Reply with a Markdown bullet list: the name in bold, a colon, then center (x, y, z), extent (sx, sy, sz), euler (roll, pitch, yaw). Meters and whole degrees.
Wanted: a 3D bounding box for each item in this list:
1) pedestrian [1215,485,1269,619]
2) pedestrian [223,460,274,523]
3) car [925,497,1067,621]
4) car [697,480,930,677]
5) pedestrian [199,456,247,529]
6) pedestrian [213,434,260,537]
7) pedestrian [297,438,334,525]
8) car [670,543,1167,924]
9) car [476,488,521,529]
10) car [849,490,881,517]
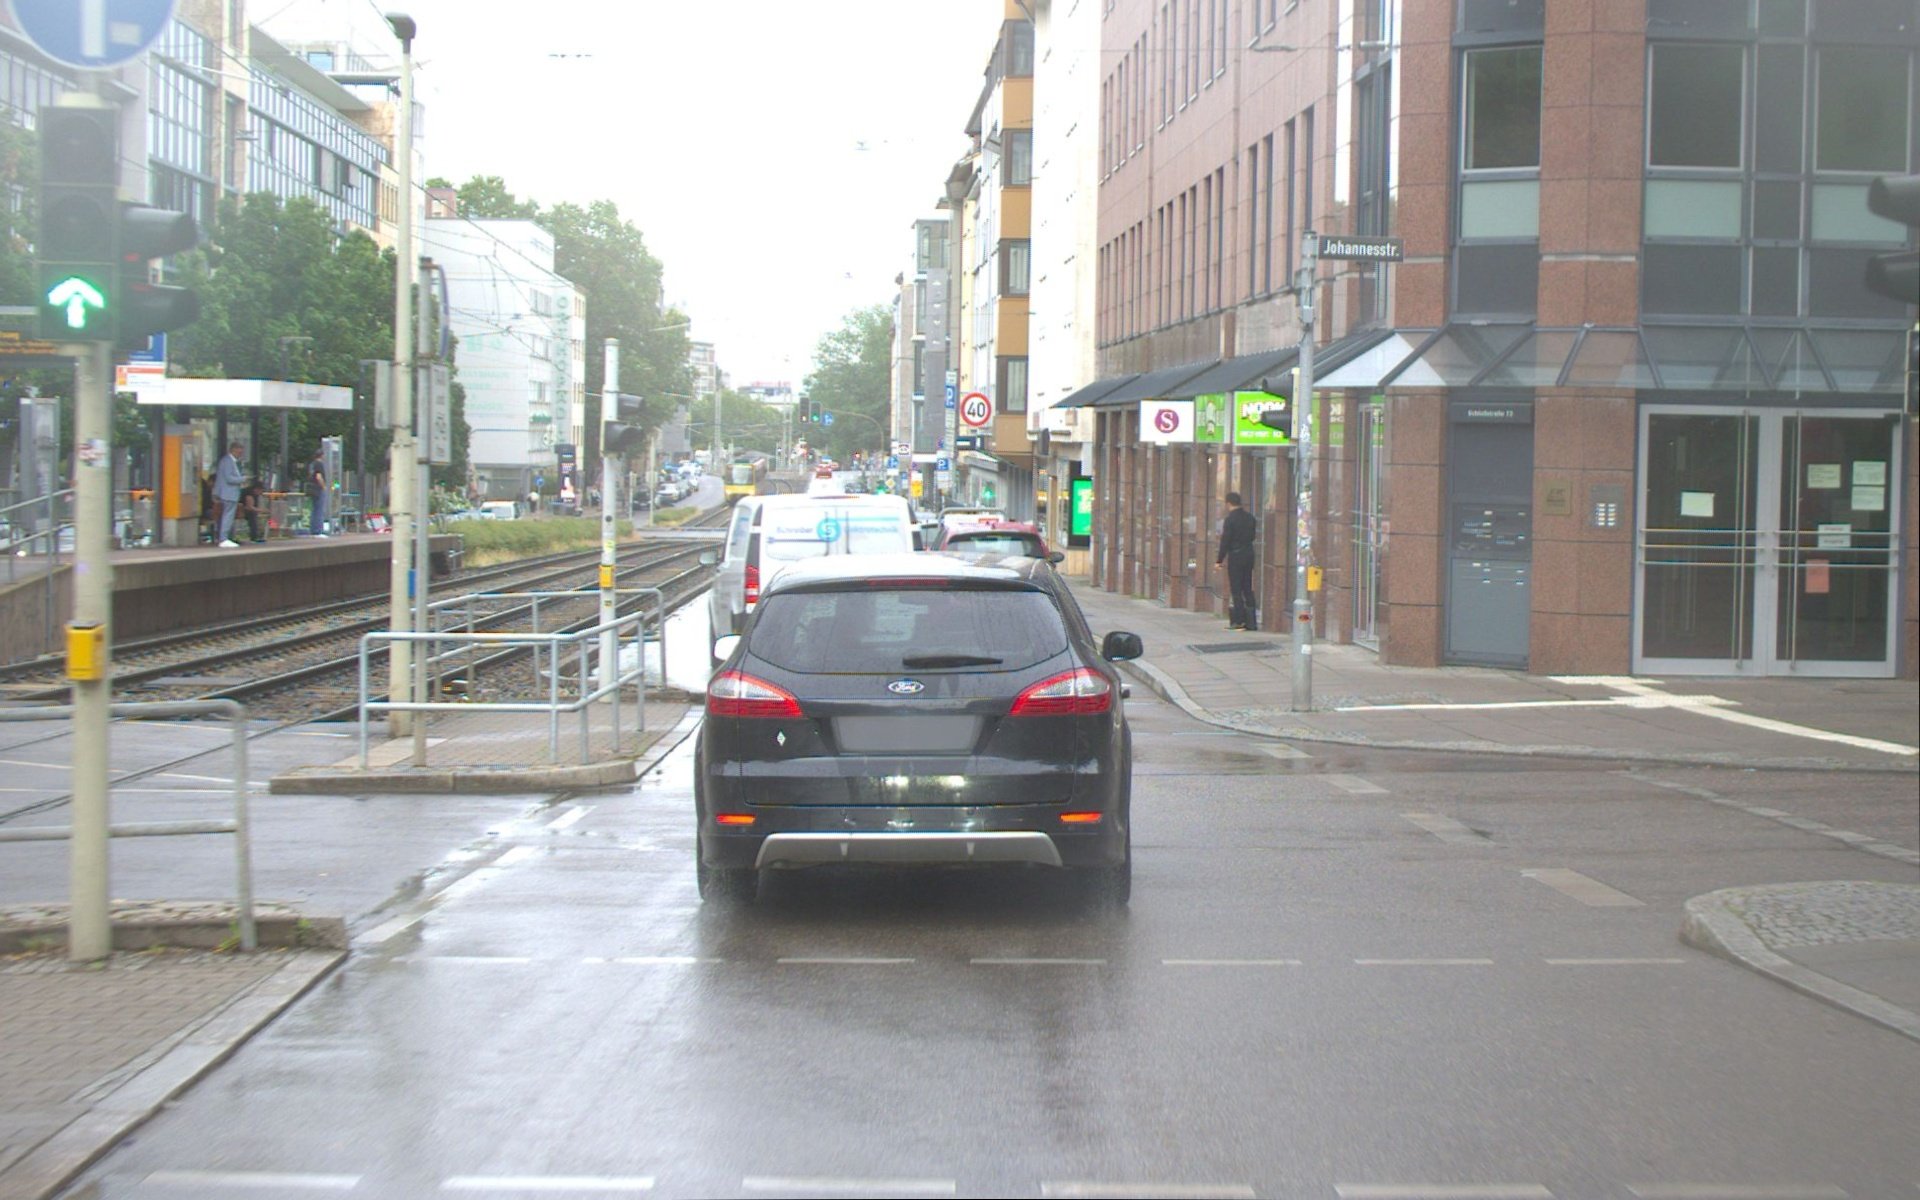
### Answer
- **pedestrian**: center (3.505, -0.593, 42.748), extent (0.601, 1.653, 0.625), euler (0, 1, -2)
- **pedestrian**: center (-12.859, -1.952, 62.111), extent (0.892, 1.119, 0.850), euler (0, 1, -13)
- **car**: center (0.419, -0.534, 44.178), extent (1.698, 1.474, 3.867), euler (-1, 1, -1)
- **car**: center (-1.565, -0.243, 35.061), extent (1.906, 1.858, 4.575), euler (1, 1, -8)
- **pedestrian**: center (-12.851, -1.871, 59.948), extent (0.692, 1.245, 0.884), euler (0, 1, -4)
- **pedestrian**: center (-12.138, -1.915, 57.695), extent (0.655, 1.705, 0.850), euler (0, 1, -4)
- **pedestrian**: center (-13.316, -2.446, 71.023), extent (0.655, 1.795, 0.850), euler (0, 1, -4)
- **car**: center (-0.208, 0.490, 15.011), extent (1.906, 1.457, 3.445), euler (1, 1, -2)
- **car**: center (-21.676, -4.292, 161.602), extent (1.906, 1.858, 4.575), euler (1, 1, -5)
- **car**: center (-5.918, -6.028, 214.903), extent (1.906, 1.627, 4.574), euler (1, 1, -1)
